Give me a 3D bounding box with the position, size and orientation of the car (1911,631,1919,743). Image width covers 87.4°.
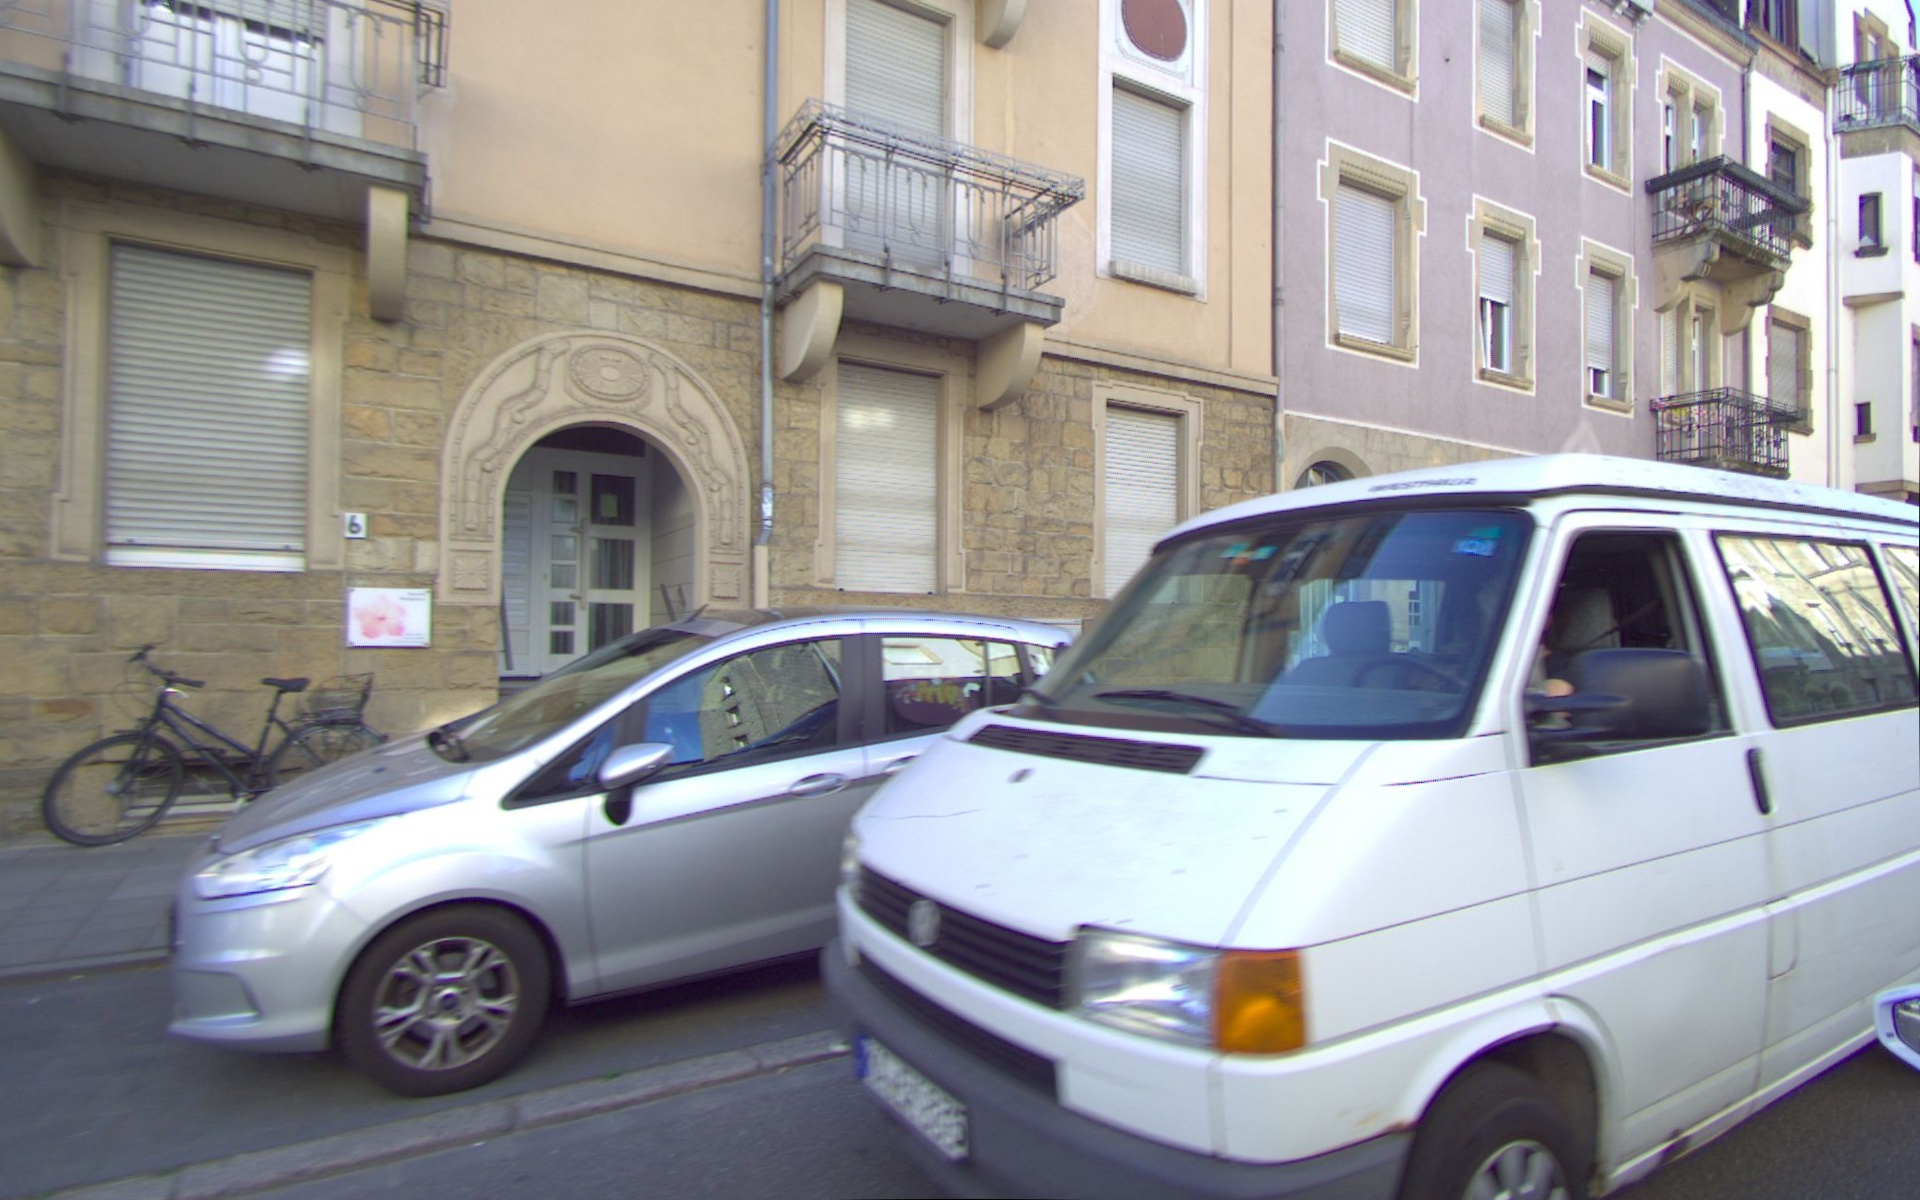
[{"bbox_3d":[15.178,1.215,14.051,4.228,1.507,1.566,1,0,-30],"label":"car"}]

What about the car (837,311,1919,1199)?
[{"bbox_3d":[2.028,0.600,3.507,4.547,1.962,1.854,1,-2,-31],"label":"car"}]

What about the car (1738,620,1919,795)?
[{"bbox_3d":[10.562,1.075,11.191,3.976,1.604,1.705,1,1,-32],"label":"car"}]

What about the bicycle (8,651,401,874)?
[{"bbox_3d":[-4.522,0.919,6.210,1.829,1.187,0.696,1,-1,-29],"label":"bicycle"}]

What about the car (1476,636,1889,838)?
[{"bbox_3d":[6.592,1.081,9.122,3.622,1.412,1.664,1,1,-30],"label":"car"}]

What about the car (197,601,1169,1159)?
[{"bbox_3d":[-1.007,0.826,4.528,3.682,1.558,1.706,1,-2,-32],"label":"car"}]
